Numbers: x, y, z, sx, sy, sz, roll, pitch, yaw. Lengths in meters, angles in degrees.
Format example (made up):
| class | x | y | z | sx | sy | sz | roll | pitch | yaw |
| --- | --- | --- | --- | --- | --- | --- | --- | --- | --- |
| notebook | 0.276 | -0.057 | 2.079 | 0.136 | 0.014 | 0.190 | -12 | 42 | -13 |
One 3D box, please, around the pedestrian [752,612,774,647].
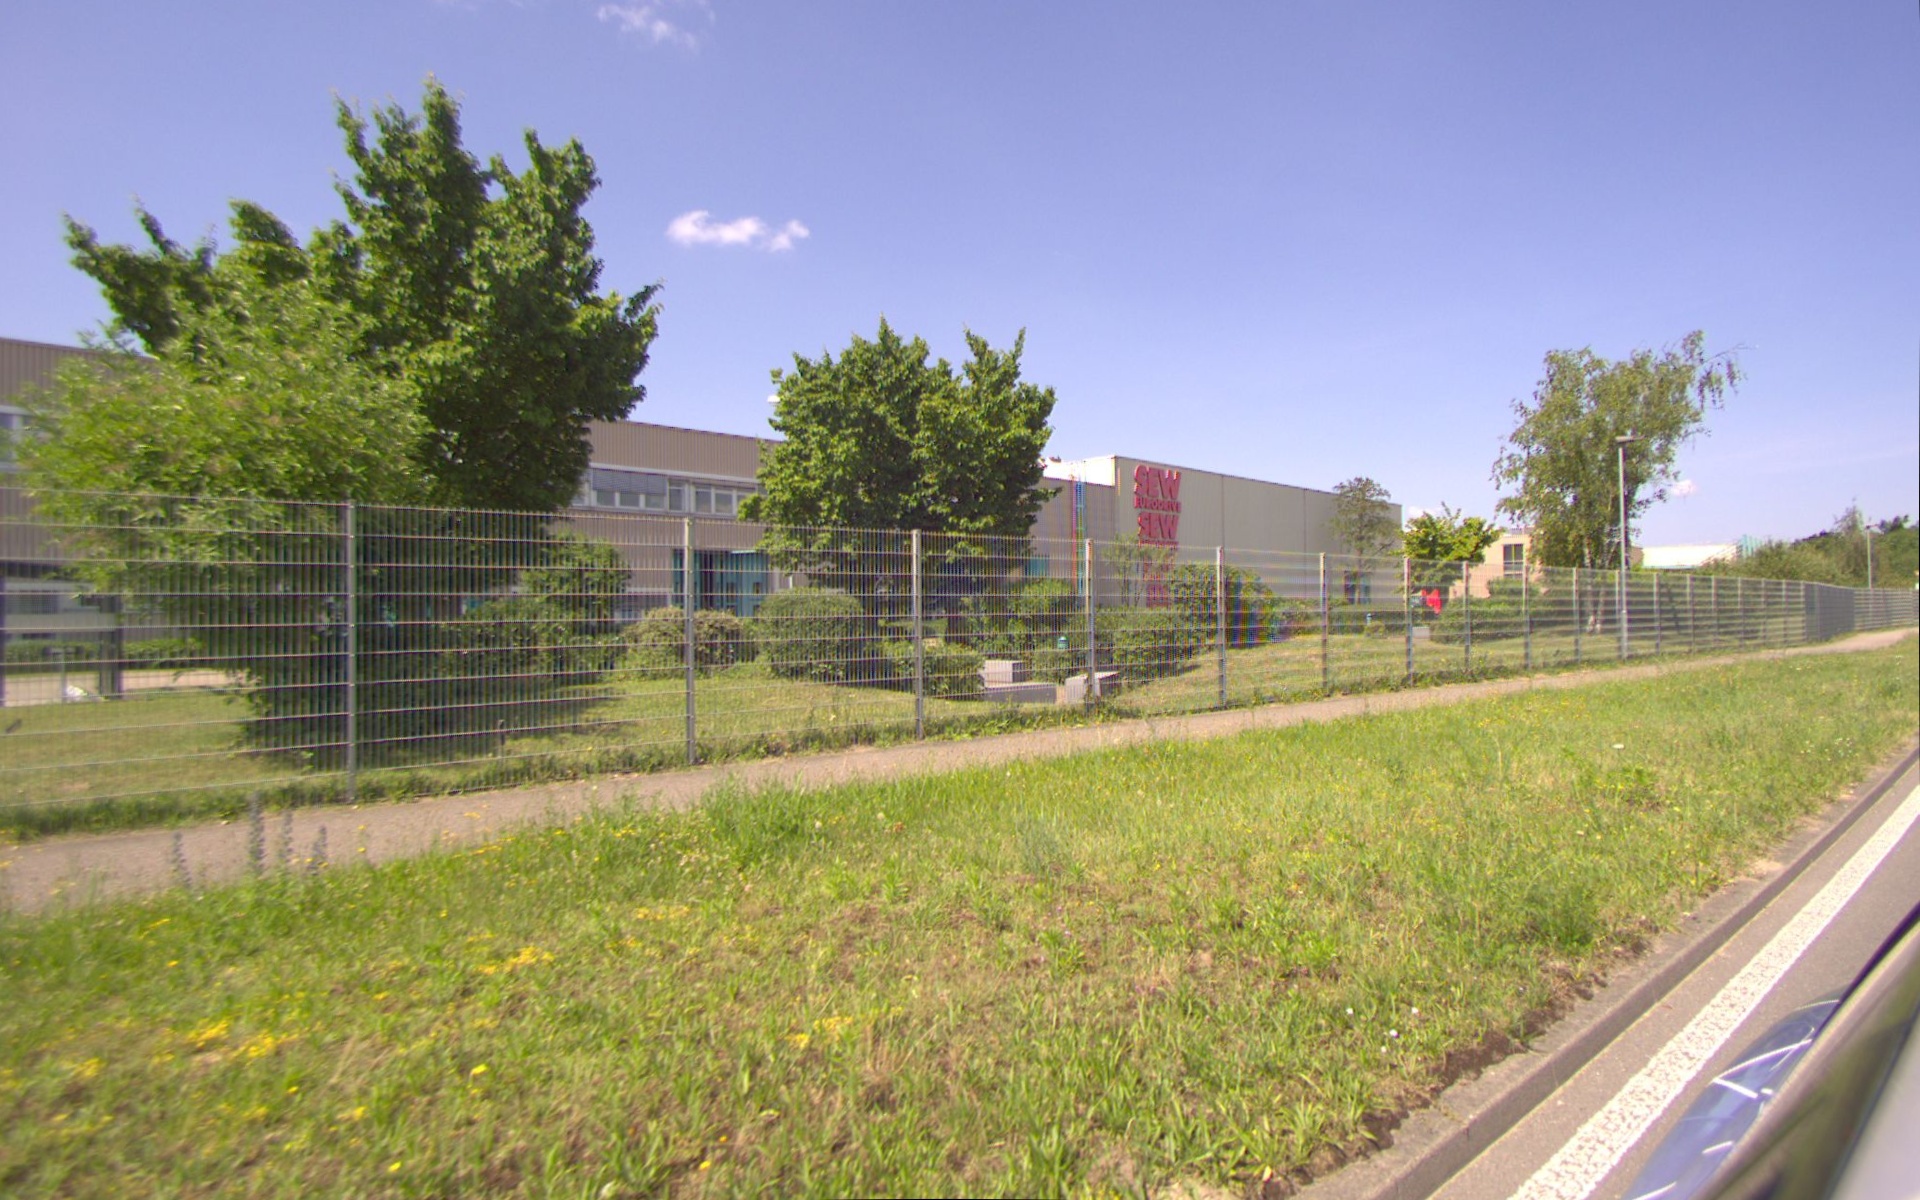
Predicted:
| class | x | y | z | sx | sy | sz | roll | pitch | yaw |
| --- | --- | --- | --- | --- | --- | --- | --- | --- | --- |
| pedestrian | -8.288 | 1.237 | 42.501 | 0.718 | 1.409 | 0.514 | 0 | -2 | -44 |
